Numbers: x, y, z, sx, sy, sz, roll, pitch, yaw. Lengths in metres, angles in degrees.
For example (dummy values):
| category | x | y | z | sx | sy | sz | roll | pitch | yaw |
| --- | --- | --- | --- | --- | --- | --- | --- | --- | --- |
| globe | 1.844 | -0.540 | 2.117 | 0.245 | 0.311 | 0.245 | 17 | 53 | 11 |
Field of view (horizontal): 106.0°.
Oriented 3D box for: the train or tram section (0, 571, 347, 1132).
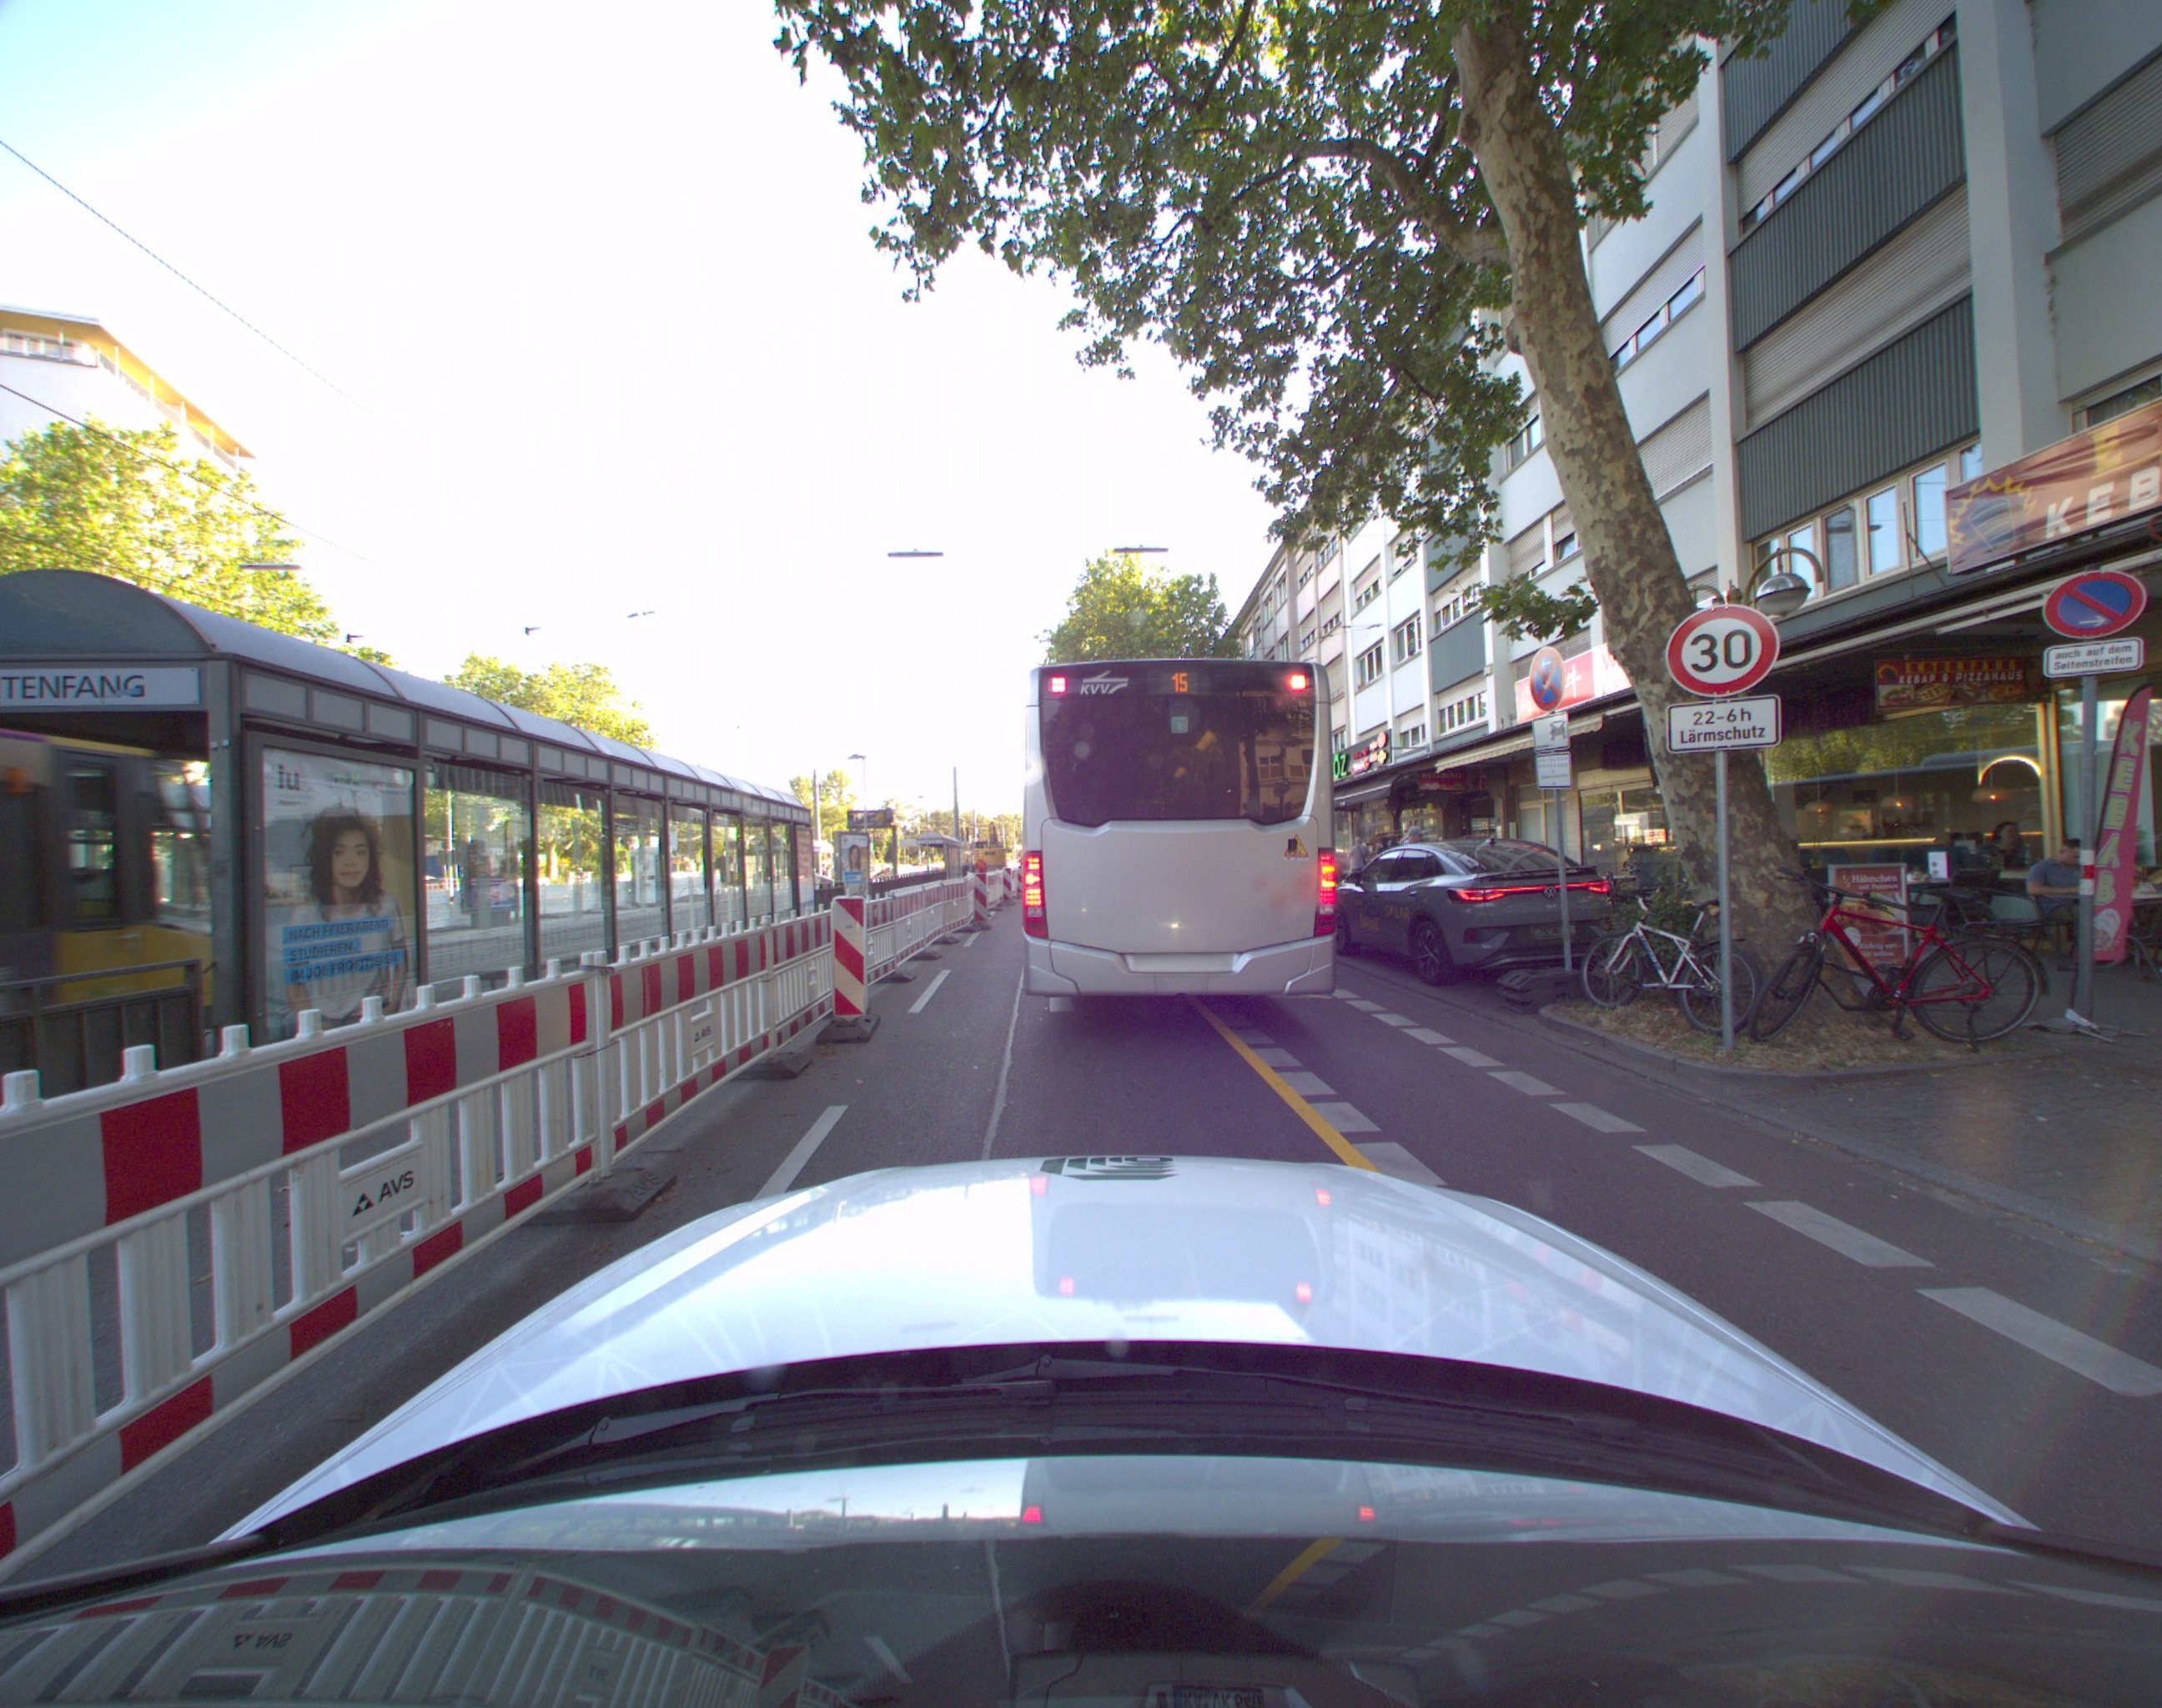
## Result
| category | x | y | z | sx | sy | sz | roll | pitch | yaw |
| --- | --- | --- | --- | --- | --- | --- | --- | --- | --- |
| train or tram section | -8.051 | -0.007 | 2.266 | 2.809 | 3.487 | 10.331 | -2 | 0 | -2 |

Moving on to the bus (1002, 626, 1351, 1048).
| category | x | y | z | sx | sy | sz | roll | pitch | yaw |
| --- | --- | --- | --- | --- | --- | --- | --- | --- | --- |
| bus | 0.920 | -0.123 | 11.365 | 2.598 | 3.170 | 10.296 | -1 | 0 | 2 |

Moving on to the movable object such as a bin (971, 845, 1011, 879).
| category | x | y | z | sx | sy | sz | roll | pitch | yaw |
| --- | --- | --- | --- | --- | --- | --- | --- | --- | --- |
| movable object such as a bin | -7.047 | 0.600 | 64.009 | 2.800 | 2.462 | 3.995 | -2 | 0 | -3 |

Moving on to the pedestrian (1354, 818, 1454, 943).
| category | x | y | z | sx | sy | sz | roll | pitch | yaw |
| --- | --- | --- | --- | --- | --- | --- | --- | --- | --- |
| pedestrian | 5.172 | 0.413 | 13.117 | 1.116 | 1.890 | 1.024 | -2 | -1 | -3 |

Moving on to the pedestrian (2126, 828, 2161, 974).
| category | x | y | z | sx | sy | sz | roll | pitch | yaw |
| --- | --- | --- | --- | --- | --- | --- | --- | --- | --- |
| pedestrian | 9.565 | 0.388 | 6.814 | 0.612 | 1.243 | 0.714 | -5 | -1 | 11 |

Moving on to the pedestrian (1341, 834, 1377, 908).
| category | x | y | z | sx | sy | sz | roll | pitch | yaw |
| --- | --- | --- | --- | --- | --- | --- | --- | --- | --- |
| pedestrian | 7.817 | 0.467 | 22.924 | 0.688 | 2.014 | 0.696 | -2 | -1 | 0 |

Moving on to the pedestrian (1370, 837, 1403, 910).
| category | x | y | z | sx | sy | sz | roll | pitch | yaw |
| --- | --- | --- | --- | --- | --- | --- | --- | --- | --- |
| pedestrian | 8.593 | 0.551 | 22.930 | 0.610 | 2.014 | 0.696 | -2 | -1 | -1 |

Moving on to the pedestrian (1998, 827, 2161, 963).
| category | x | y | z | sx | sy | sz | roll | pitch | yaw |
| --- | --- | --- | --- | --- | --- | --- | --- | --- | --- |
| pedestrian | 9.627 | 0.384 | 7.851 | 0.673 | 1.203 | 0.706 | -5 | -1 | 11 |

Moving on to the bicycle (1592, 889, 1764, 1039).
| category | x | y | z | sx | sy | sz | roll | pitch | yaw |
| --- | --- | --- | --- | --- | --- | --- | --- | --- | --- |
| bicycle | 4.485 | 0.786 | 6.192 | 0.294 | 0.927 | 1.127 | -6 | 2 | -8 |

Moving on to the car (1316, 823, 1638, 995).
| category | x | y | z | sx | sy | sz | roll | pitch | yaw |
| --- | --- | --- | --- | --- | --- | --- | --- | --- | --- |
| car | 4.607 | 0.561 | 10.316 | 1.736 | 1.597 | 4.294 | -4 | 0 | -3 |

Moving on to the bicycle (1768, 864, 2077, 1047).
| category | x | y | z | sx | sy | sz | roll | pitch | yaw |
| --- | --- | --- | --- | --- | --- | --- | --- | --- | --- |
| bicycle | 5.498 | 0.674 | 5.373 | 1.450 | 1.066 | 0.297 | -6 | 2 | 13 |
